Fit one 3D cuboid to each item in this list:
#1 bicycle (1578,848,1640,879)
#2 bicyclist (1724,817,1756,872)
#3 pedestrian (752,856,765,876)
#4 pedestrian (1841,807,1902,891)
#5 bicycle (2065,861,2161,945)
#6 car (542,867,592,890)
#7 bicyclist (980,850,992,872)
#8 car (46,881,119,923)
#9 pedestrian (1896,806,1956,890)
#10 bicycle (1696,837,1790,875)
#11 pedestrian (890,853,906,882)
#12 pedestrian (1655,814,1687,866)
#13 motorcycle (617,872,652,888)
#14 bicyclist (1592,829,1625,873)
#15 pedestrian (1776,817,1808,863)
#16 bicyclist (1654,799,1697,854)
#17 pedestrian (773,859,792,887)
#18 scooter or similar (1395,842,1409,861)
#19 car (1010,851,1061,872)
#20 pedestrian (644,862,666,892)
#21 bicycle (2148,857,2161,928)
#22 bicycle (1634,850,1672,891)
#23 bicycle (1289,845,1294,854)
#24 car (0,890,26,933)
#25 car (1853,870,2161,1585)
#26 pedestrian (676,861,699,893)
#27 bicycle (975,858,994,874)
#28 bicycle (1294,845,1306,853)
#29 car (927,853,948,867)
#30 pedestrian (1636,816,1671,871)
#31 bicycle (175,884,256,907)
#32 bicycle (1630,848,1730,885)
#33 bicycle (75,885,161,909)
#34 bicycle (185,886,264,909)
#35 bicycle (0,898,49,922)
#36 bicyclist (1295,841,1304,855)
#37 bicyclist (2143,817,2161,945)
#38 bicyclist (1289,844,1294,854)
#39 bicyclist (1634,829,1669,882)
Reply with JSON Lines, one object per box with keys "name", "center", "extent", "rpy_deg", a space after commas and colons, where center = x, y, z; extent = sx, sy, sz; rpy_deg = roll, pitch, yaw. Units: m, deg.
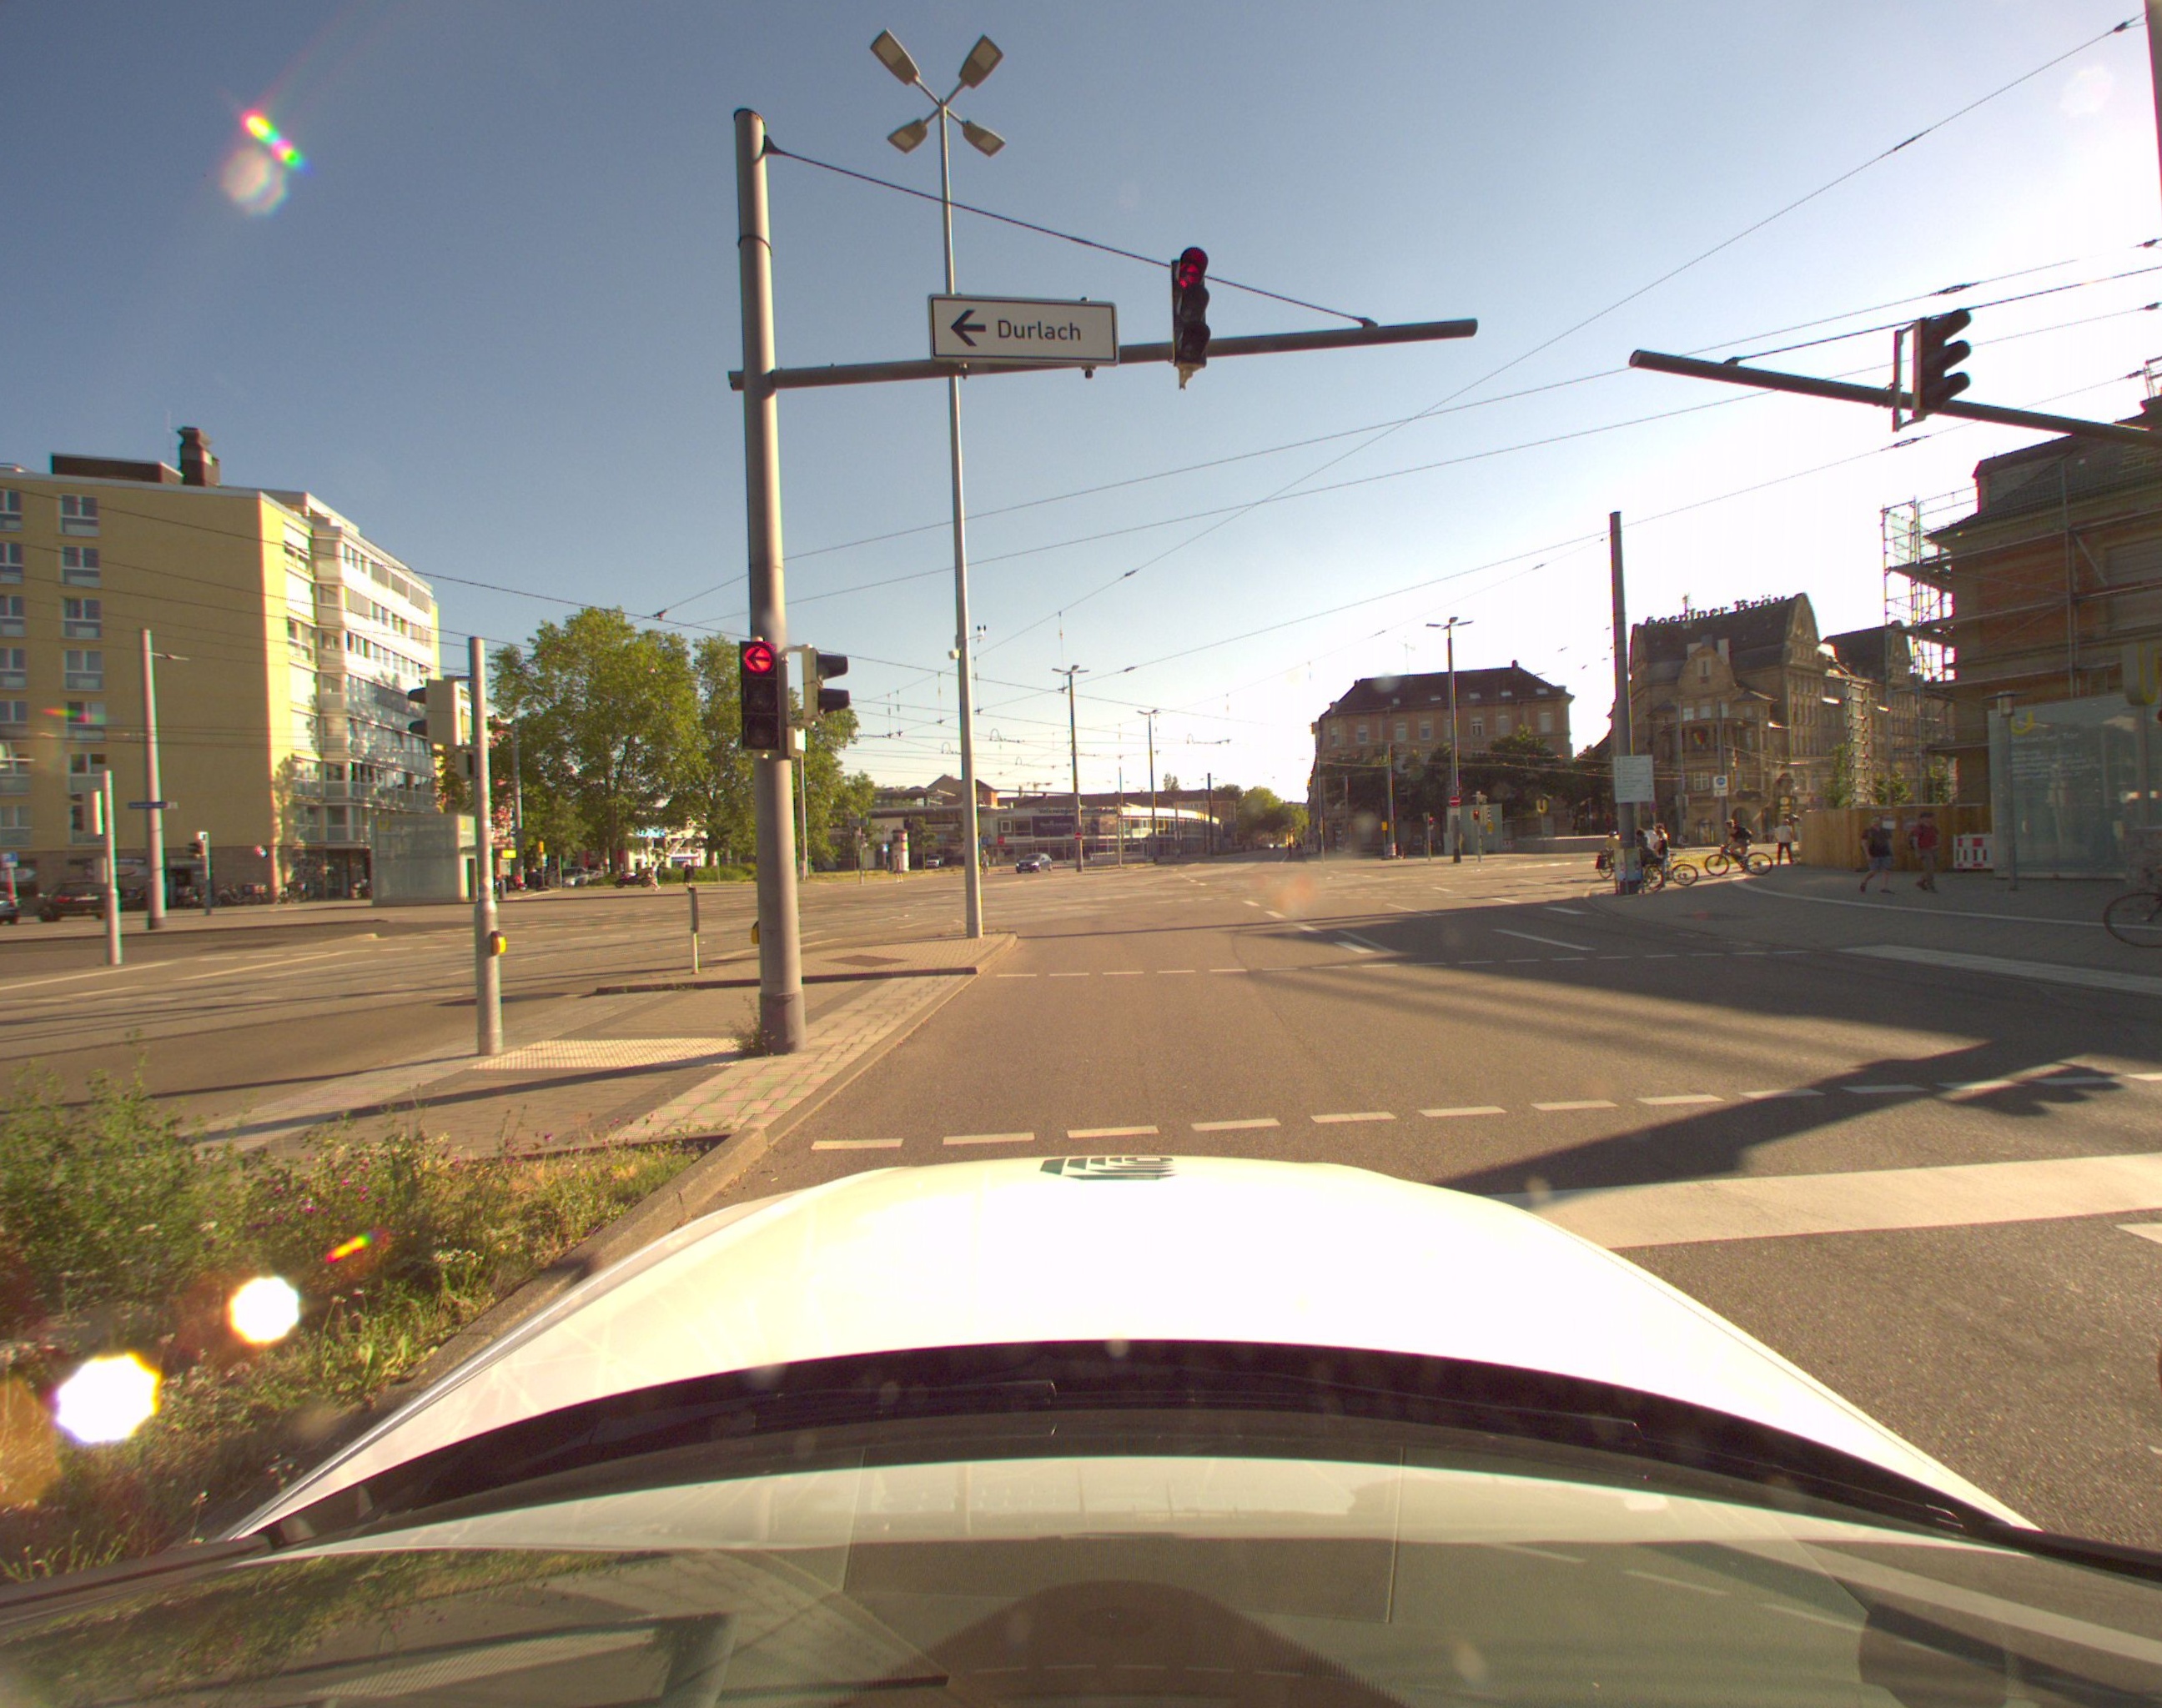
{"name": "bicycle", "center": [19.089, 0.322, 29.500], "extent": [0.533, 1.049, 2.315], "rpy_deg": [0, 1, -6]}
{"name": "bicyclist", "center": [21.524, -0.301, 26.607], "extent": [0.785, 1.779, 0.526], "rpy_deg": [-1, -1, 37]}
{"name": "pedestrian", "center": [-26.438, 0.979, 66.831], "extent": [0.854, 1.694, 0.497], "rpy_deg": [0, -1, -1]}
{"name": "pedestrian", "center": [17.574, -0.109, 18.113], "extent": [0.672, 1.807, 0.680], "rpy_deg": [-3, 0, -19]}
{"name": "bicycle", "center": [13.506, 0.602, 9.817], "extent": [0.657, 0.963, 2.030], "rpy_deg": [-5, 0, -6]}
{"name": "car", "center": [-37.308, 1.722, 59.242], "extent": [1.772, 1.567, 3.983], "rpy_deg": [0, -1, -12]}
{"name": "bicyclist", "center": [-7.017, 0.547, 60.157], "extent": [0.593, 1.615, 0.827], "rpy_deg": [-1, -1, 20]}
{"name": "car", "center": [-44.158, 2.077, 35.998], "extent": [3.948, 1.706, 1.730], "rpy_deg": [-1, -1, 35]}
{"name": "pedestrian", "center": [18.570, -0.126, 17.912], "extent": [0.672, 1.807, 0.680], "rpy_deg": [0, -1, -19]}
{"name": "bicycle", "center": [21.542, 0.077, 26.568], "extent": [2.290, 1.049, 0.539], "rpy_deg": [-5, -1, 36]}
{"name": "pedestrian", "center": [-11.913, 0.873, 53.120], "extent": [0.790, 1.886, 0.760], "rpy_deg": [-1, -1, 9]}
{"name": "pedestrian", "center": [22.048, -0.524, 30.428], "extent": [0.646, 1.922, 0.689], "rpy_deg": [0, -1, -6]}
{"name": "motorcycle", "center": [-27.265, 1.579, 49.760], "extent": [1.779, 0.914, 0.675], "rpy_deg": [0, -1, -19]}
{"name": "bicyclist", "center": [19.087, -0.108, 29.497], "extent": [0.514, 1.557, 0.945], "rpy_deg": [0, -1, -6]}
{"name": "pedestrian", "center": [28.364, -0.563, 32.478], "extent": [0.646, 1.814, 0.689], "rpy_deg": [0, -1, -6]}
{"name": "bicyclist", "center": [17.280, -0.779, 23.693], "extent": [0.935, 1.557, 0.715], "rpy_deg": [-1, -1, 33]}
{"name": "pedestrian", "center": [-18.095, 1.132, 49.359], "extent": [0.790, 1.706, 0.760], "rpy_deg": [-1, -1, 9]}
{"name": "scooter or similar", "center": [24.787, -0.178, 62.895], "extent": [0.780, 1.376, 1.916], "rpy_deg": [-1, -1, 16]}
{"name": "car", "center": [-3.422, 0.564, 61.943], "extent": [1.975, 1.585, 4.024], "rpy_deg": [-1, -1, 29]}
{"name": "pedestrian", "center": [-24.475, 1.330, 46.774], "extent": [0.790, 1.706, 0.760], "rpy_deg": [-1, -1, 9]}
{"name": "bicycle", "center": [15.822, 0.493, 10.722], "extent": [0.661, 0.963, 2.018], "rpy_deg": [-4, -1, -25]}
{"name": "bicycle", "center": [15.937, 0.425, 22.733], "extent": [0.692, 1.049, 2.335], "rpy_deg": [0, 1, 31]}
{"name": "bicycle", "center": [22.401, -0.446, 86.657], "extent": [0.407, 0.941, 1.852], "rpy_deg": [-1, -1, 15]}
{"name": "car", "center": [-47.054, 2.465, 34.931], "extent": [3.948, 1.706, 2.013], "rpy_deg": [-1, -1, 35]}
{"name": "car", "center": [2.905, 0.732, 0.254], "extent": [1.617, 1.404, 4.001], "rpy_deg": [0, 0, 2]}
{"name": "pedestrian", "center": [-20.914, 1.221, 43.323], "extent": [0.790, 1.706, 0.760], "rpy_deg": [-1, -1, 9]}
{"name": "bicycle", "center": [-7.081, 0.864, 59.969], "extent": [0.607, 1.189, 1.878], "rpy_deg": [-1, -1, 19]}
{"name": "bicycle", "center": [25.450, -0.551, 94.652], "extent": [0.657, 0.952, 1.594], "rpy_deg": [0, -1, -10]}
{"name": "car", "center": [-17.568, 0.741, 99.975], "extent": [1.988, 1.750, 3.997], "rpy_deg": [0, -1, -1]}
{"name": "pedestrian", "center": [21.311, -0.378, 30.303], "extent": [0.730, 2.014, 0.760], "rpy_deg": [0, -1, -6]}
{"name": "bicycle", "center": [-46.282, 2.216, 43.581], "extent": [3.041, 1.151, 0.637], "rpy_deg": [0, -1, -16]}
{"name": "bicycle", "center": [17.343, 0.356, 23.655], "extent": [2.290, 1.049, 0.705], "rpy_deg": [-1, -1, 32]}
{"name": "bicycle", "center": [-50.238, 2.232, 42.534], "extent": [3.041, 1.151, 0.637], "rpy_deg": [0, -1, -16]}
{"name": "bicycle", "center": [-46.491, 2.353, 44.218], "extent": [3.041, 1.151, 0.637], "rpy_deg": [0, -1, -16]}
{"name": "bicycle", "center": [-54.419, 2.848, 41.116], "extent": [3.041, 1.151, 0.637], "rpy_deg": [0, -1, -16]}
{"name": "bicyclist", "center": [25.391, -0.729, 94.688], "extent": [0.772, 1.577, 0.758], "rpy_deg": [0, -1, -14]}
{"name": "bicyclist", "center": [13.546, 0.315, 9.712], "extent": [0.665, 1.553, 0.792], "rpy_deg": [-3, 0, -8]}
{"name": "bicyclist", "center": [22.380, -0.546, 86.566], "extent": [0.405, 1.116, 0.400], "rpy_deg": [-1, -1, 13]}
{"name": "bicyclist", "center": [15.918, 0.037, 22.731], "extent": [0.701, 1.439, 0.953], "rpy_deg": [-1, -1, 30]}
